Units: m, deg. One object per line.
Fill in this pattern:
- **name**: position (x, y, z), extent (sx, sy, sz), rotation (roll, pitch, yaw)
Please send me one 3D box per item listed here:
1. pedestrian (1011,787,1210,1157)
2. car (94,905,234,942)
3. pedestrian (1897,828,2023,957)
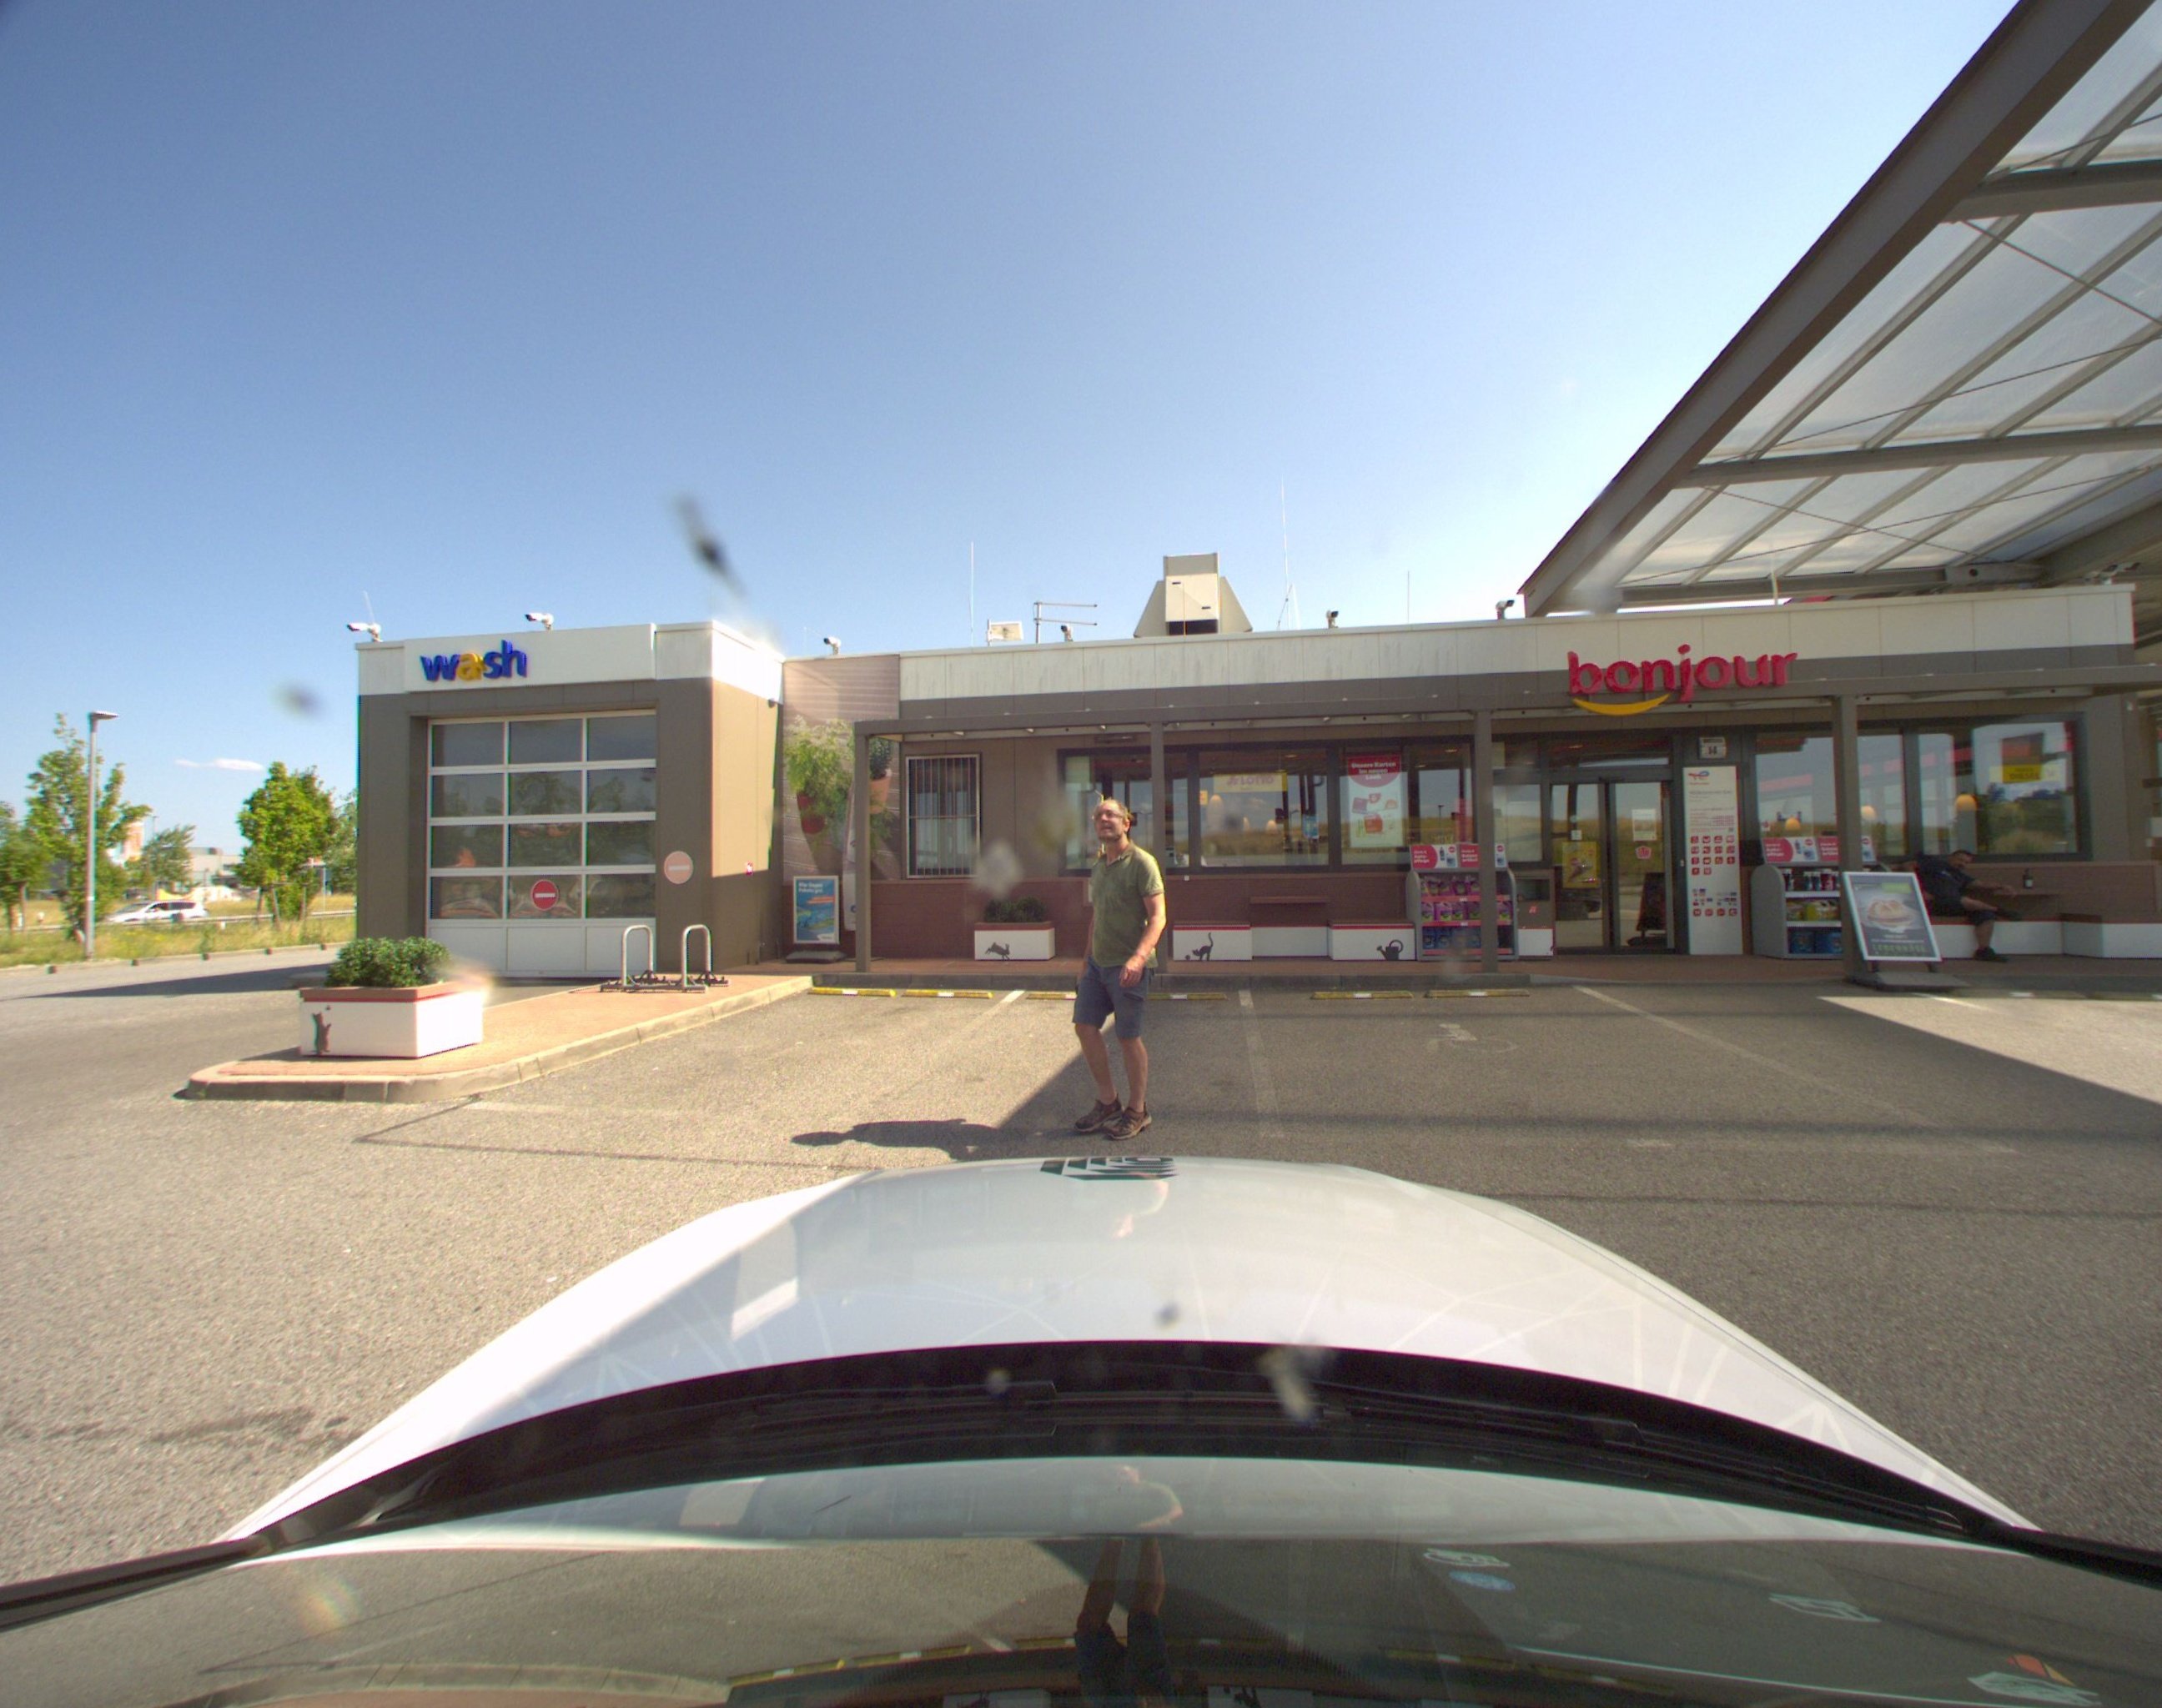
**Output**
- **pedestrian**: position (0.178, 0.578, 4.526), extent (0.694, 1.797, 0.868), rotation (-2, -1, 38)
- **car**: position (-47.454, 3.565, 42.305), extent (1.929, 1.604, 4.439), rotation (-1, -2, 10)
- **pedestrian**: position (10.184, 0.437, 9.462), extent (0.697, 1.432, 0.674), rotation (-1, -1, 7)
